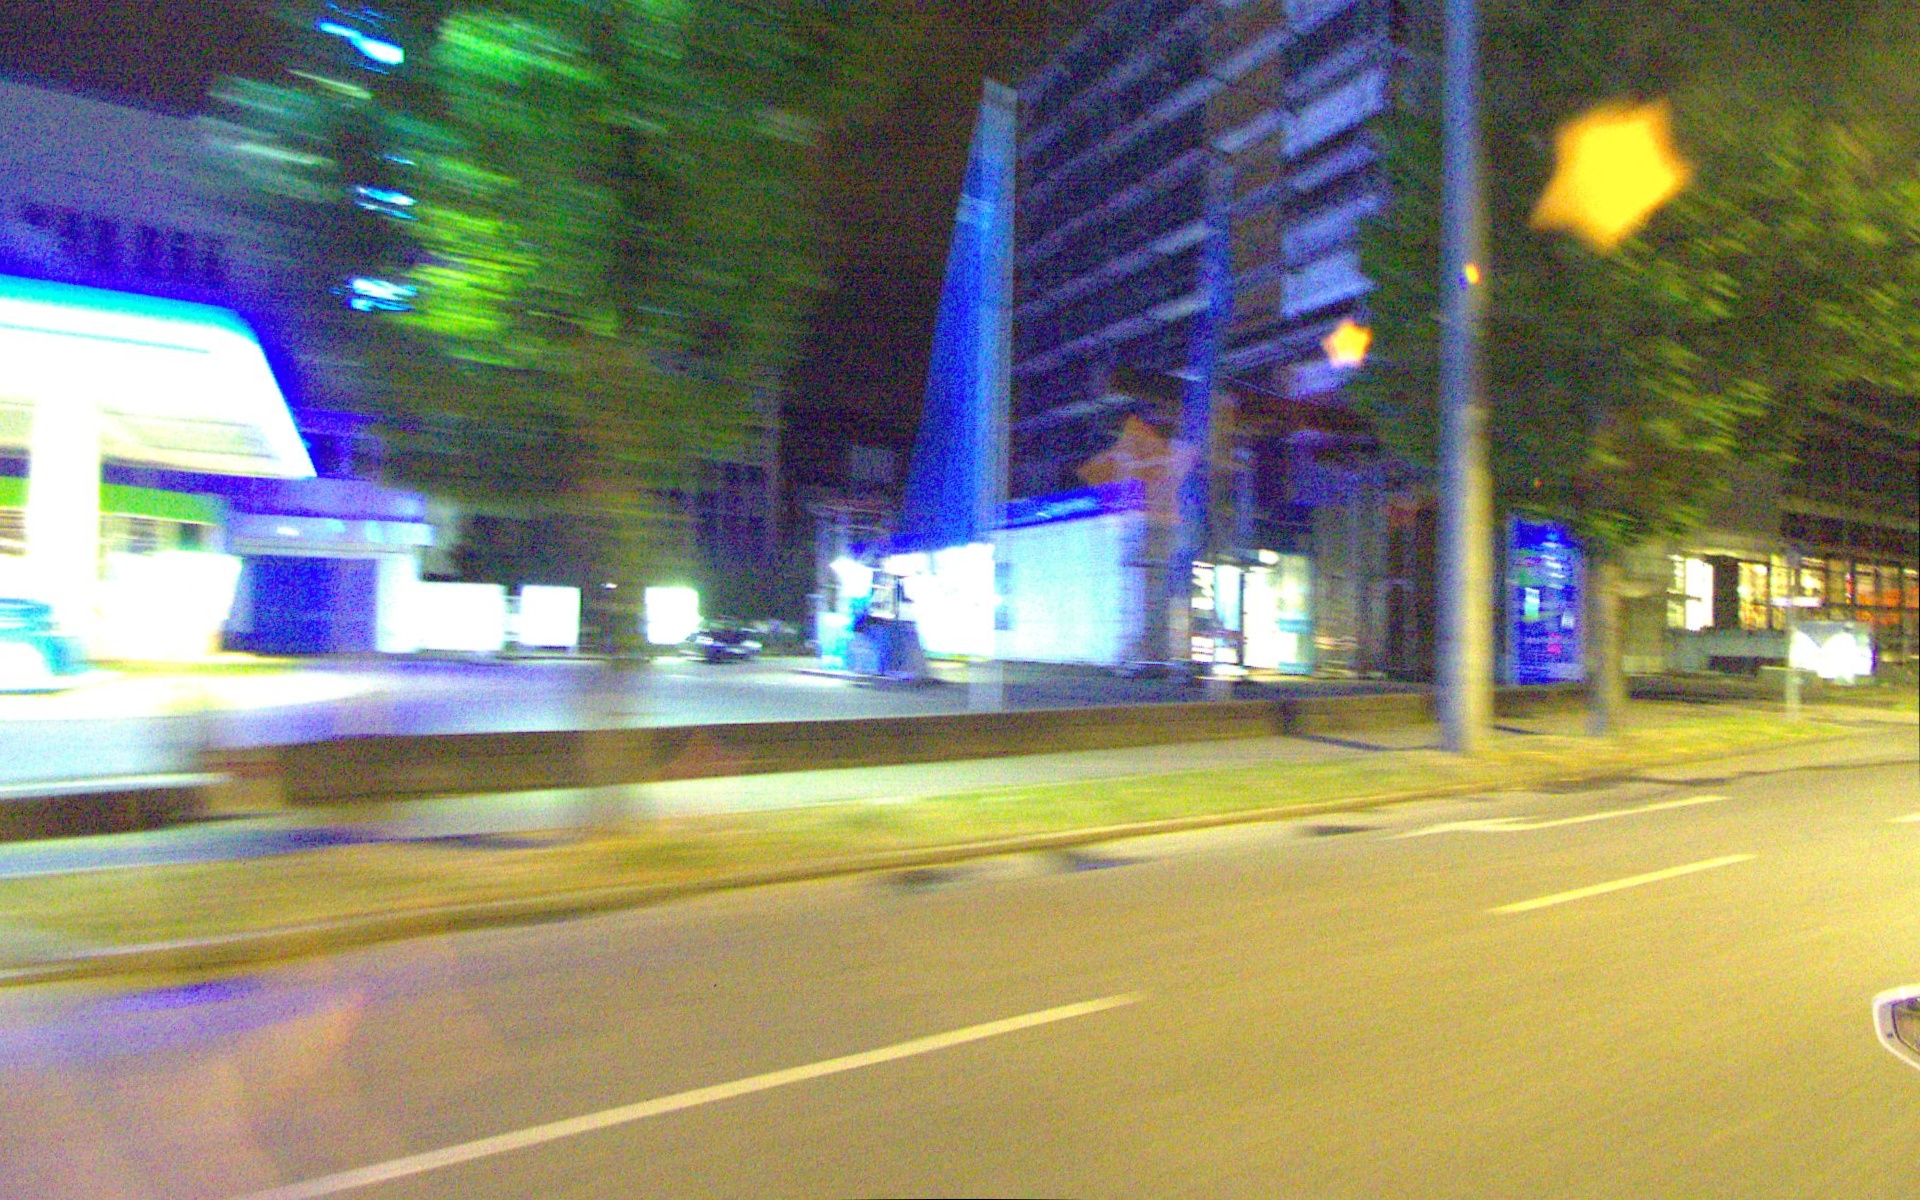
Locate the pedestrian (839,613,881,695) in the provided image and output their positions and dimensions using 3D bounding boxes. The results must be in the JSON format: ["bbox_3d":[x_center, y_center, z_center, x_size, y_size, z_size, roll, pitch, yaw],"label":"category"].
[{"bbox_3d":[-2.023,1.092,20.354,0.636,1.627,0.572,2,-1,-32],"label":"pedestrian"}]

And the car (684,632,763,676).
[{"bbox_3d":[-7.480,1.664,31.597,1.556,1.282,3.132,1,-1,-30],"label":"car"}]
